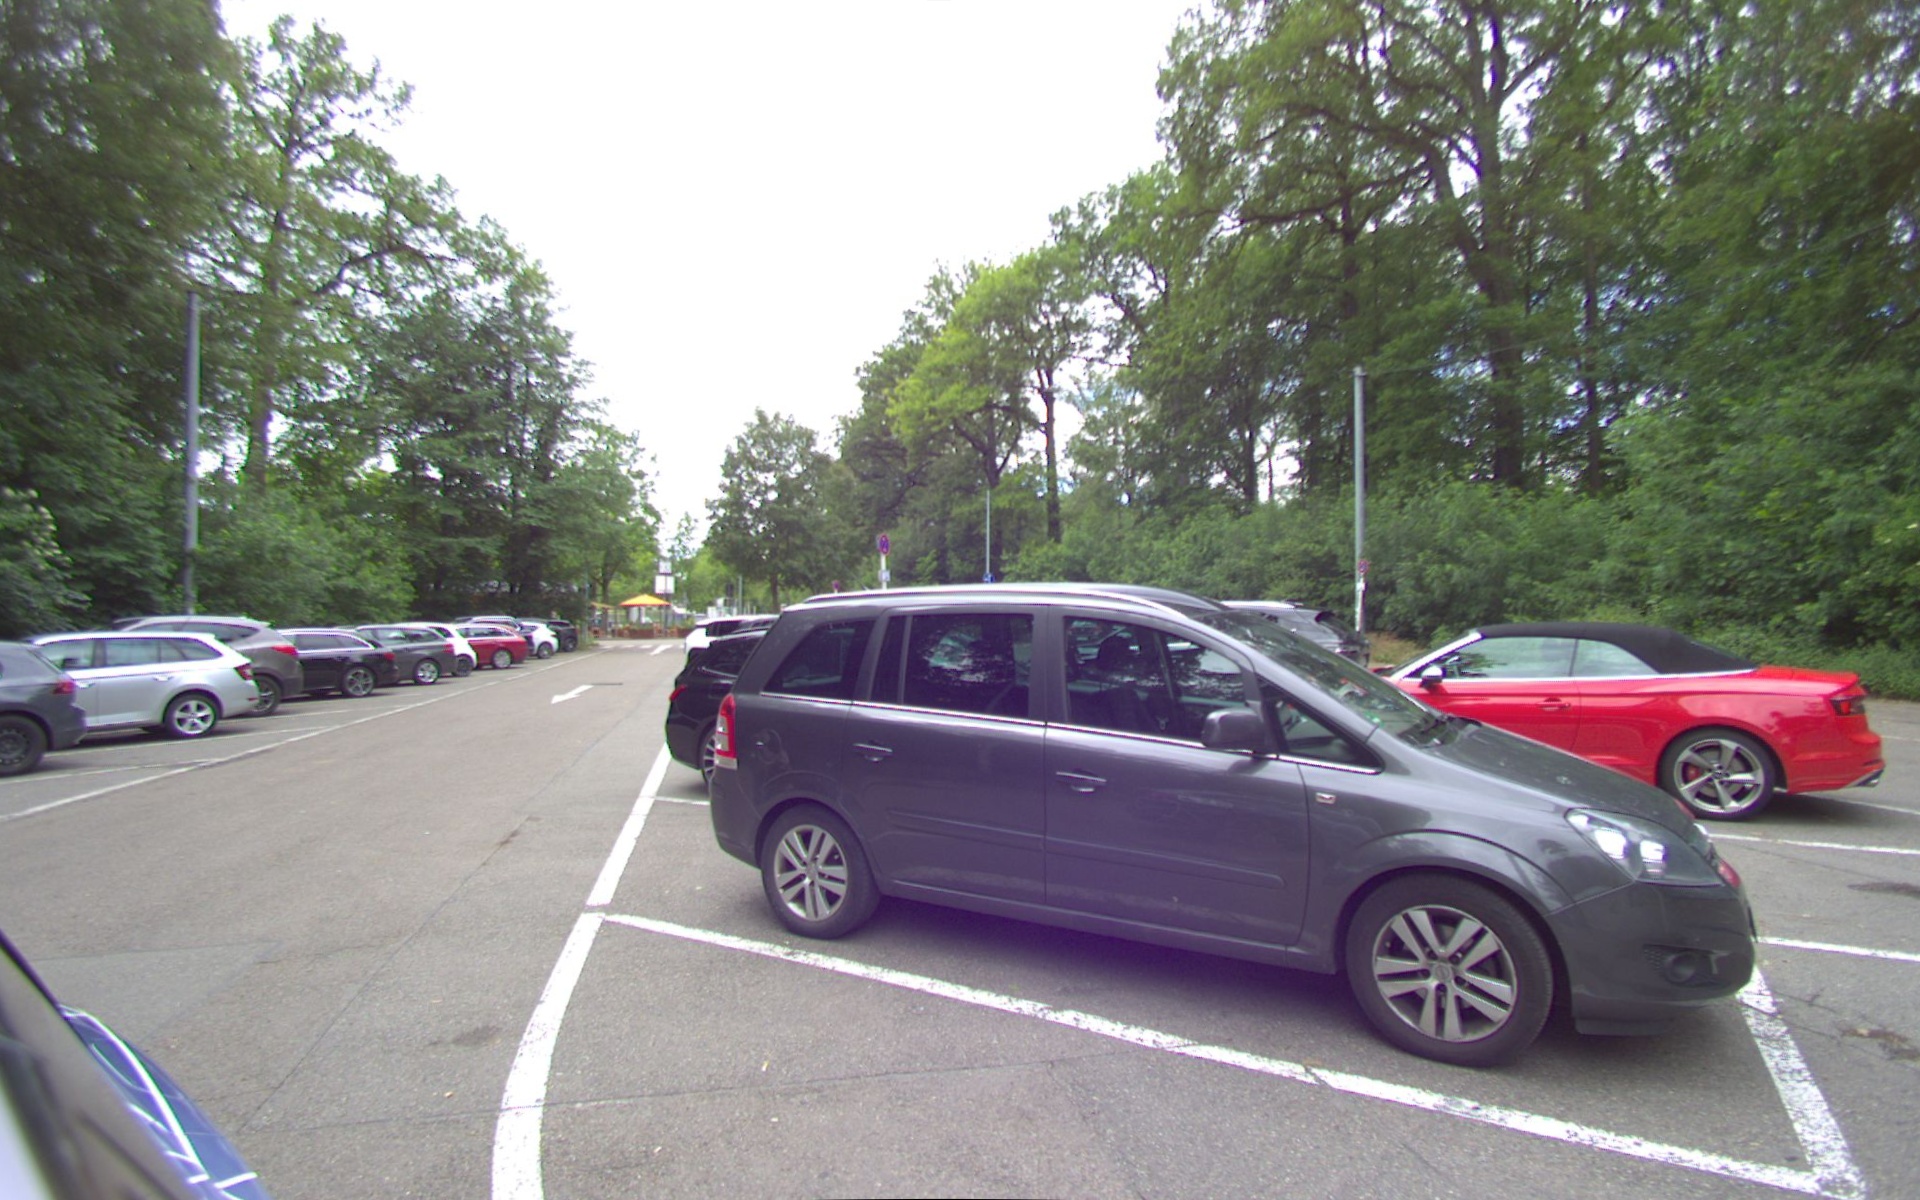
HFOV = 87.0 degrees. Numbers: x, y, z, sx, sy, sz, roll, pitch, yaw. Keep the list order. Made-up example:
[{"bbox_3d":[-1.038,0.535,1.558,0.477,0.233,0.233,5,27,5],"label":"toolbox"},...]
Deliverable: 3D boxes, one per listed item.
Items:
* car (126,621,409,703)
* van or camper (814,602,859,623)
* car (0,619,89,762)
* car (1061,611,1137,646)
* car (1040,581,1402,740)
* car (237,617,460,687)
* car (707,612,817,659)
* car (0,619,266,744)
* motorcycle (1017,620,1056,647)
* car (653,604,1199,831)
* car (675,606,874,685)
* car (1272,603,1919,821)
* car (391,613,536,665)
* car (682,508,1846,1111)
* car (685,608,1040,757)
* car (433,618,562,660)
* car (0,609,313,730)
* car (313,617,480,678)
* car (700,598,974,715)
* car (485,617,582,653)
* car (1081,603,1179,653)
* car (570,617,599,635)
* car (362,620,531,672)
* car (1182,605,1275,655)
[{"bbox_3d":[-13.487,1.140,19.985,1.958,1.388,4.219,-1,-1,30],"label":"car"},{"bbox_3d":[-17.818,1.810,146.794,2.065,2.871,7.249,-1,-1,37],"label":"van or camper"},{"bbox_3d":[-11.153,0.926,9.642,1.903,1.433,3.957,-1,-1,31],"label":"car"},{"bbox_3d":[5.961,1.194,43.145,1.734,1.386,3.956,-1,-1,32],"label":"car"},{"bbox_3d":[3.195,0.682,12.521,3.984,1.676,1.879,-1,-1,30],"label":"car"},{"bbox_3d":[-14.173,1.143,23.694,1.799,1.468,4.141,-1,-1,32],"label":"car"},{"bbox_3d":[-7.076,1.254,36.096,3.639,1.597,1.670,-1,-1,29],"label":"car"},{"bbox_3d":[-11.655,0.995,13.171,1.832,1.478,3.951,-2,-2,36],"label":"car"},{"bbox_3d":[3.596,1.571,47.510,0.730,1.217,2.001,-1,-1,42],"label":"motorcycle"},{"bbox_3d":[-0.378,0.803,8.370,4.262,1.454,1.742,-1,-1,31],"label":"car"},{"bbox_3d":[-4.123,0.974,22.364,4.173,1.609,1.828,-1,-2,30],"label":"car"},{"bbox_3d":[5.021,0.762,8.358,4.378,1.405,1.750,-1,-1,32],"label":"car"},{"bbox_3d":[-16.855,1.280,34.510,1.838,1.630,4.071,-1,-1,35],"label":"car"},{"bbox_3d":[0.954,0.609,4.647,4.372,1.621,1.810,-1,-1,31],"label":"car"},{"bbox_3d":[-1.176,0.845,11.668,3.834,1.454,1.753,-1,-1,33],"label":"car"},{"bbox_3d":[-17.429,1.429,38.284,1.865,1.449,4.071,-1,-1,35],"label":"car"},{"bbox_3d":[-12.925,0.980,15.924,1.959,1.649,4.216,-1,-1,32],"label":"car"},{"bbox_3d":[-15.072,1.230,27.229,1.730,1.516,3.541,-1,-1,34],"label":"car"},{"bbox_3d":[-1.937,0.829,15.652,3.964,1.599,1.827,-2,-2,32],"label":"car"},{"bbox_3d":[-19.154,1.563,45.565,1.693,1.503,3.752,-1,-1,31],"label":"car"},{"bbox_3d":[6.624,1.055,38.995,2.106,1.780,4.657,-1,-1,32],"label":"car"},{"bbox_3d":[-32.964,2.285,88.890,1.965,1.564,4.013,0,-1,-27],"label":"car"},{"bbox_3d":[-15.682,1.366,31.104,1.924,1.424,4.244,-1,-1,36],"label":"car"},{"bbox_3d":[8.865,0.969,33.230,1.864,1.522,3.956,-1,-1,32],"label":"car"}]
